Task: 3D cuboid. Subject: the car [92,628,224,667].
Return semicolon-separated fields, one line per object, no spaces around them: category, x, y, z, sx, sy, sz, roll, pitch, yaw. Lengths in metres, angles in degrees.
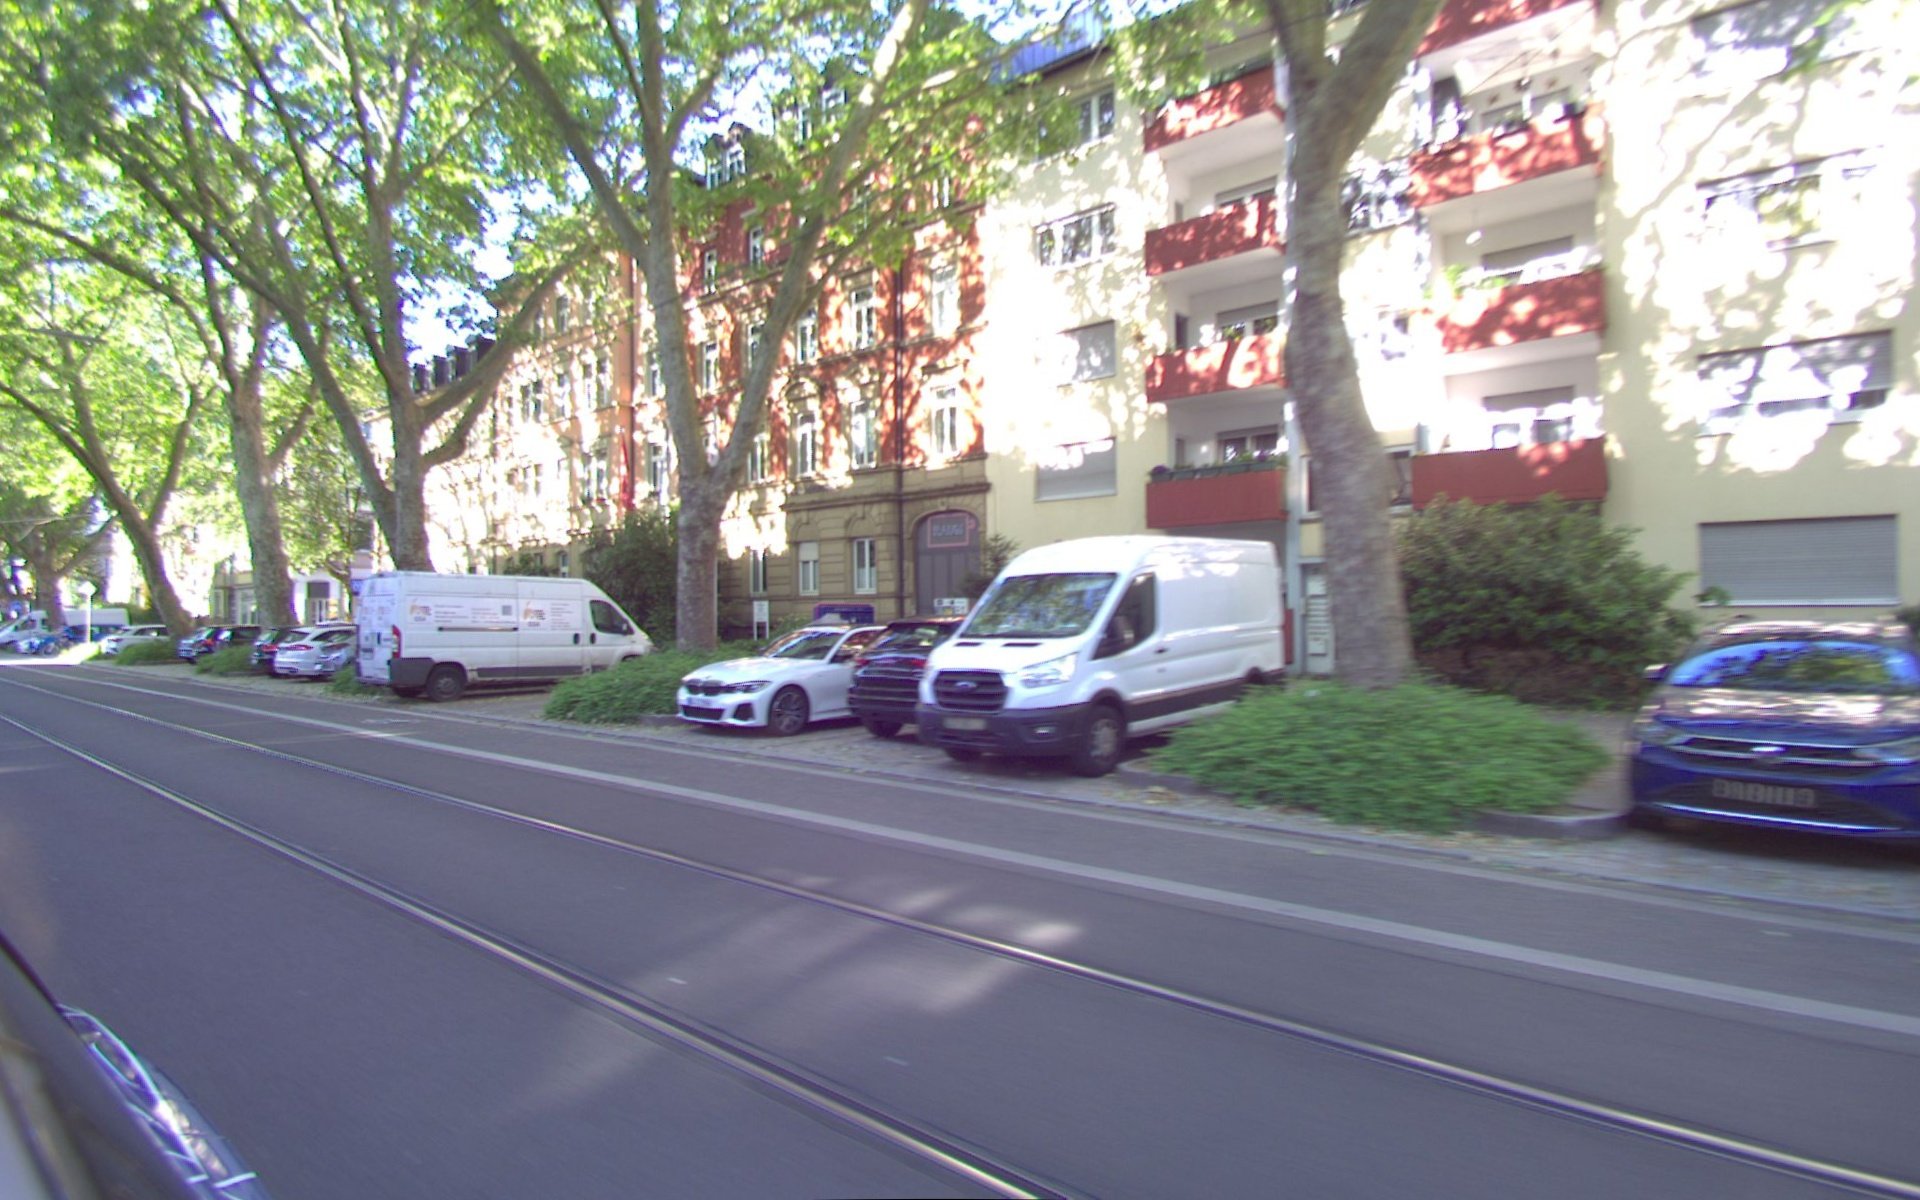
car;-32.593;1.901;41.202;1.877;1.471;3.946;-2;-2;40

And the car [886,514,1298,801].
car;1.765;0.544;11.510;2.056;2.496;5.304;-2;-2;41

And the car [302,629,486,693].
car;-14.372;1.495;25.829;1.704;1.443;3.767;-2;-2;43

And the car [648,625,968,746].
car;-2.022;1.100;14.543;1.932;1.395;4.364;-2;-1;41

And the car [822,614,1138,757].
car;0.418;0.984;13.419;1.871;1.550;4.326;-2;-1;41

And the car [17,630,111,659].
car;-50.379;2.468;56.958;1.745;1.529;3.733;-1;-2;37

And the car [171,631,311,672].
car;-26.631;1.859;37.608;1.602;1.379;3.952;-1;-2;35

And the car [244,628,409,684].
car;-18.269;1.560;29.290;1.704;1.471;3.753;-2;-2;41

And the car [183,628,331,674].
car;-24.697;1.745;35.682;1.764;1.471;3.957;-1;-1;32

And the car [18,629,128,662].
car;-48.837;2.459;55.787;1.814;1.725;4.279;-1;-2;37

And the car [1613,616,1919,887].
car;6.286;0.879;7.472;1.871;1.477;3.977;-2;-1;41

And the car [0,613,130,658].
car;-55.513;2.146;62.311;1.999;2.426;6.533;-2;0;41

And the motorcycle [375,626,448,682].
motorcycle;-17.363;1.662;31.993;3.010;1.643;1.041;-1;1;41

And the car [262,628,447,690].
car;-16.326;1.542;27.409;1.829;1.507;3.945;-2;-2;41

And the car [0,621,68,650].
car;-66.435;2.534;71.806;1.923;1.922;4.575;-2;0;45

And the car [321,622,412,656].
car;-36.364;2.350;62.037;4.515;1.894;2.133;1;1;-40

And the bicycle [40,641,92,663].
bicycle;-44.350;2.549;50.219;0.628;1.039;1.851;-2;-2;40

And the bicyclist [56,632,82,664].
bicyclist;-44.280;2.376;50.310;0.736;1.538;0.857;-2;-2;40

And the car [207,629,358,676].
car;-22.750;1.720;34.061;1.704;1.471;3.943;-2;-2;43

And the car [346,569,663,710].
car;-9.316;0.741;21.181;2.161;2.555;5.681;-2;-1;41
